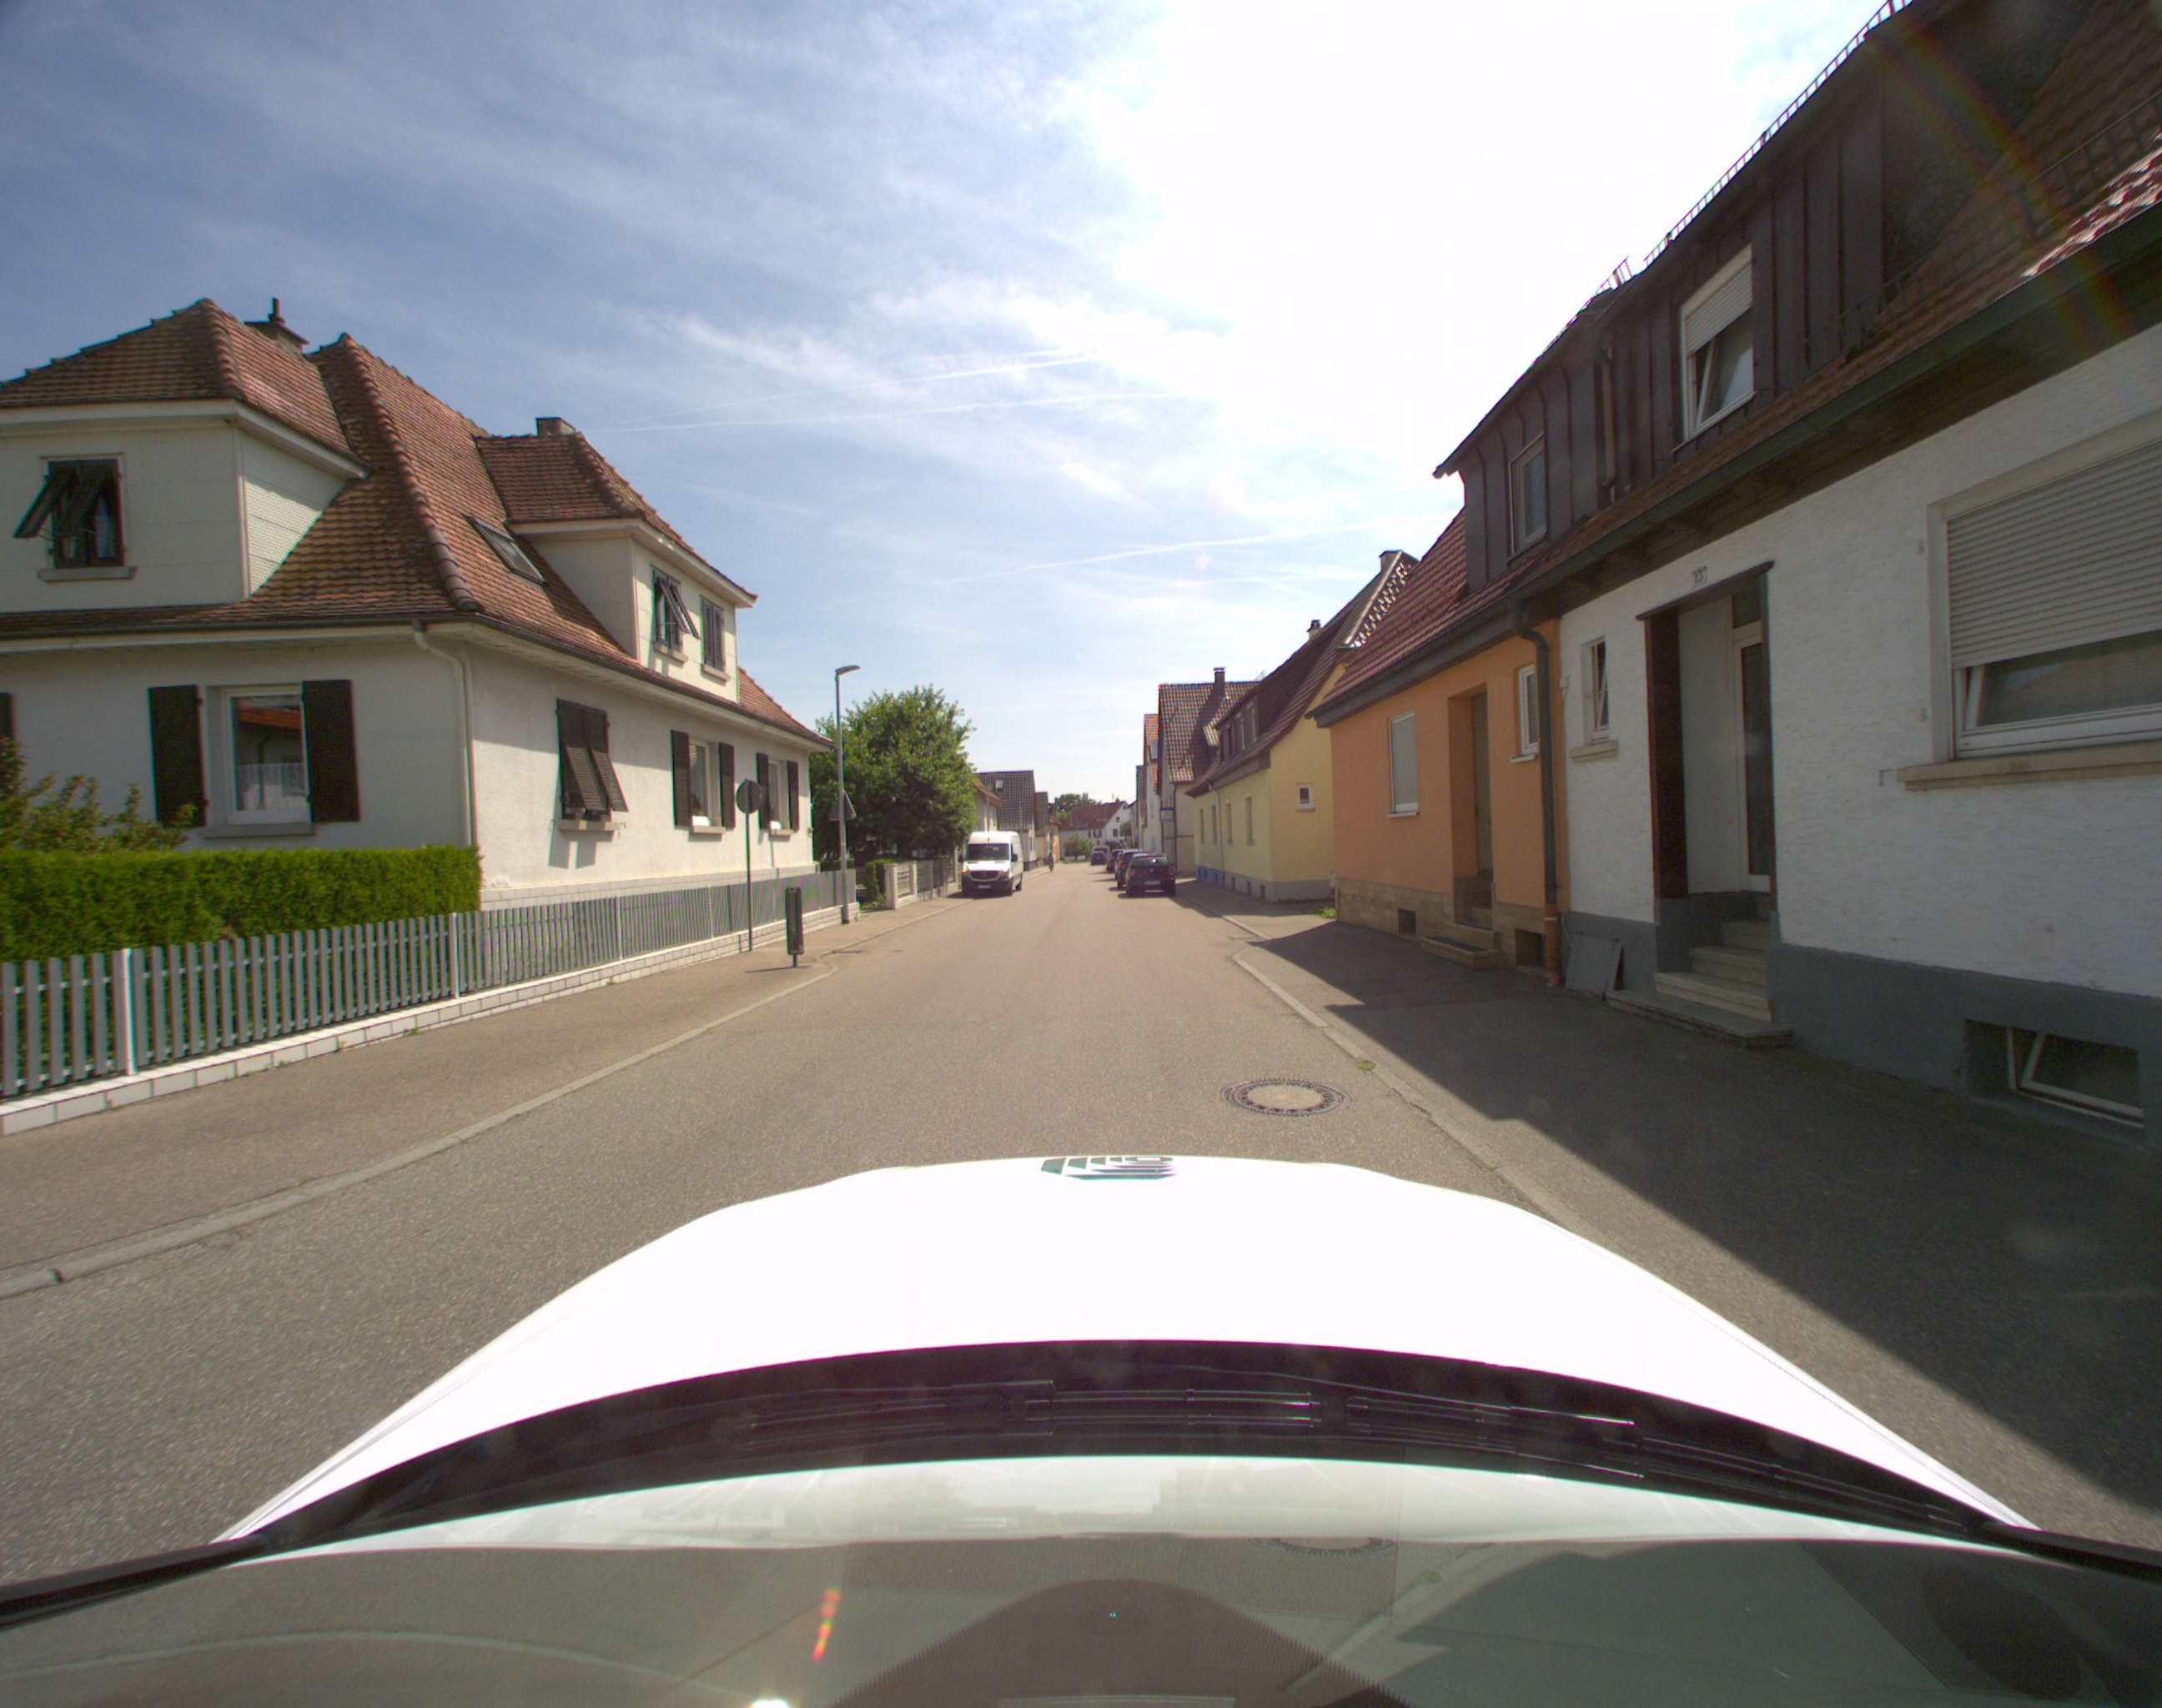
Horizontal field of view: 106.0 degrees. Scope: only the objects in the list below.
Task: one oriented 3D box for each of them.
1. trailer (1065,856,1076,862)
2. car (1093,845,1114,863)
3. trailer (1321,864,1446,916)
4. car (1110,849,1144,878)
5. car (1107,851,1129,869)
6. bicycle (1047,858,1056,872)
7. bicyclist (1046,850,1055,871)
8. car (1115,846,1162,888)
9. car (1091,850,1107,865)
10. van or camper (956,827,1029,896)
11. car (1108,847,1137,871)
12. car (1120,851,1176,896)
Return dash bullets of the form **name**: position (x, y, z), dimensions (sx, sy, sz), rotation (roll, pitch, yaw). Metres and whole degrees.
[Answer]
- **trailer**: position (-1.551, 0.708, 122.161), dimensions (1.496, 0.927, 1.013), rotation (0, 0, 2)
- **car**: position (2.959, -0.040, 106.475), dimensions (2.117, 2.158, 4.746), rotation (-2, 0, 7)
- **trailer**: position (6.053, 0.682, 16.310), dimensions (2.148, 0.899, 1.231), rotation (-2, 0, -29)
- **car**: position (2.587, 0.534, 46.139), dimensions (1.669, 1.559, 3.039), rotation (-1, 0, -1)
- **car**: position (3.039, 0.486, 67.357), dimensions (1.756, 1.424, 4.595), rotation (-2, 0, 2)
- **bicycle**: position (-2.509, 0.941, 69.610), dimensions (0.668, 1.132, 2.189), rotation (-2, 0, 0)
- **bicyclist**: position (-2.582, 0.541, 69.643), dimensions (0.711, 1.798, 0.941), rotation (-2, 0, -1)
- **car**: position (2.354, 0.499, 34.198), dimensions (1.722, 1.599, 4.255), rotation (-1, 0, 2)
- **car**: position (2.046, 0.401, 92.270), dimensions (1.509, 1.567, 3.188), rotation (-2, 0, 4)
- **van or camper**: position (-3.581, 0.267, 34.364), dimensions (2.177, 2.571, 6.808), rotation (-1, 0, 1)
- **car**: position (3.105, 0.370, 61.105), dimensions (1.870, 1.700, 4.181), rotation (-1, 0, -1)
- **car**: position (2.292, 0.630, 28.639), dimensions (1.606, 1.431, 3.752), rotation (-1, 0, -1)
